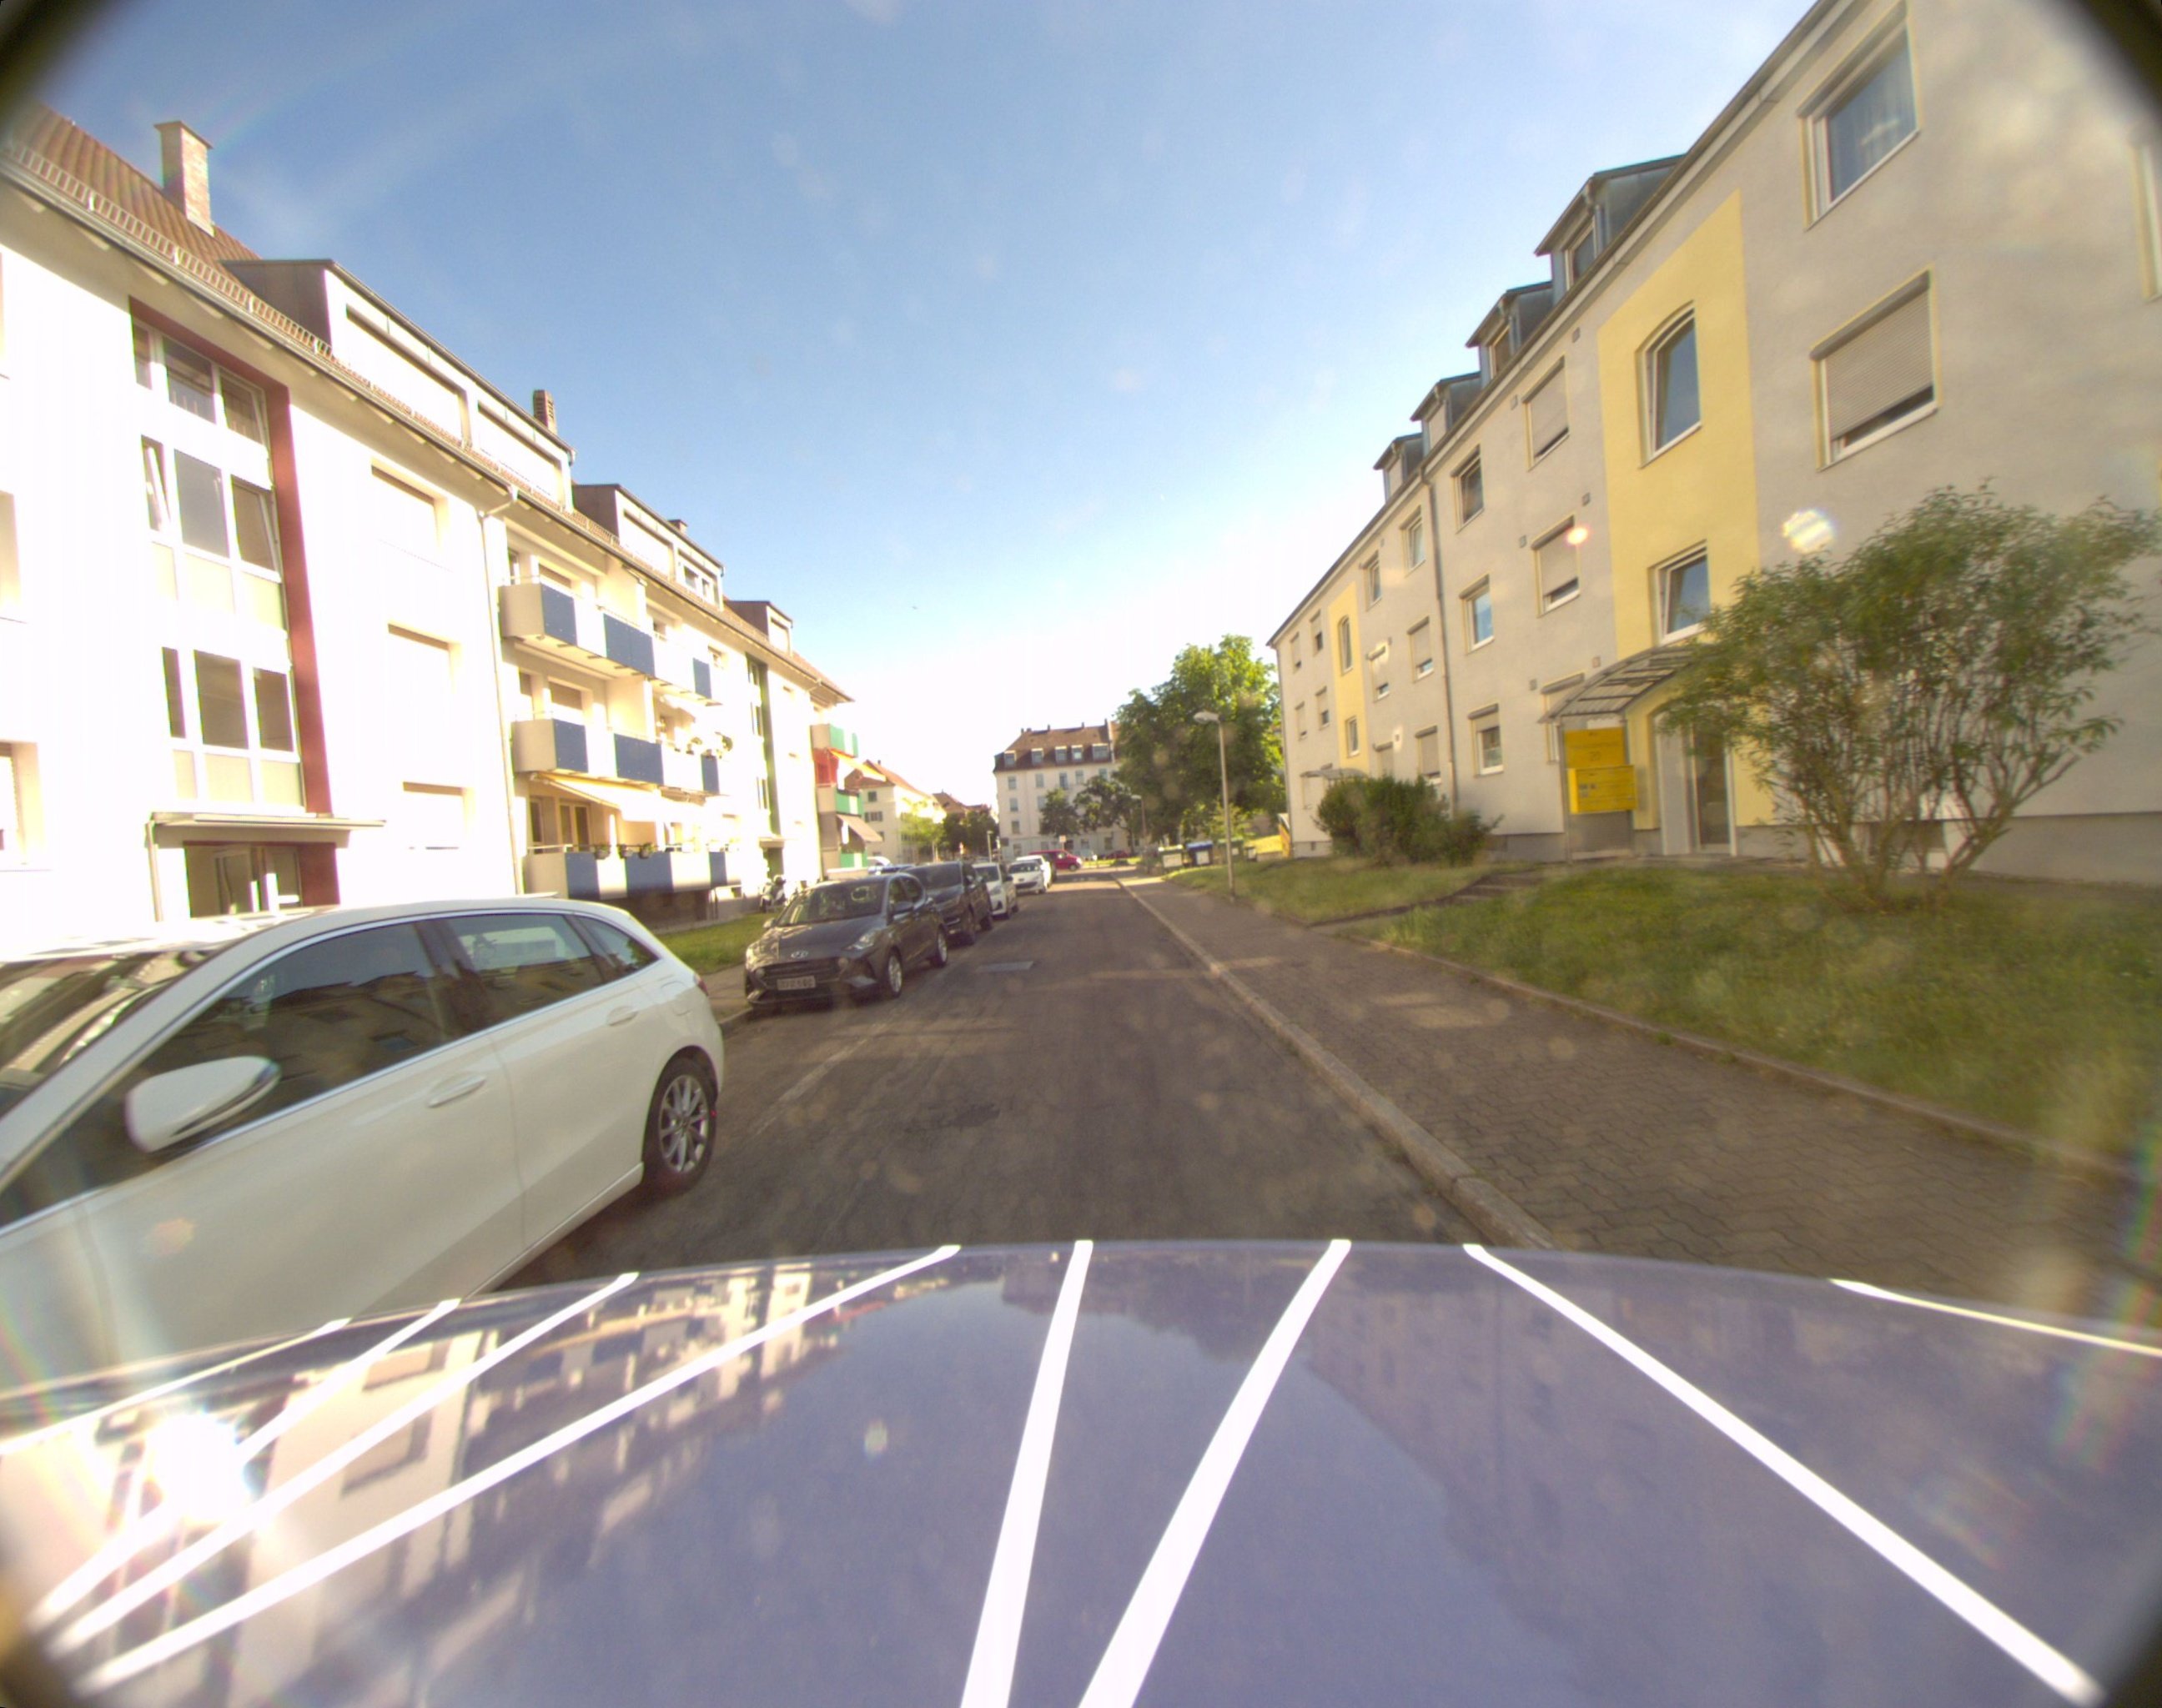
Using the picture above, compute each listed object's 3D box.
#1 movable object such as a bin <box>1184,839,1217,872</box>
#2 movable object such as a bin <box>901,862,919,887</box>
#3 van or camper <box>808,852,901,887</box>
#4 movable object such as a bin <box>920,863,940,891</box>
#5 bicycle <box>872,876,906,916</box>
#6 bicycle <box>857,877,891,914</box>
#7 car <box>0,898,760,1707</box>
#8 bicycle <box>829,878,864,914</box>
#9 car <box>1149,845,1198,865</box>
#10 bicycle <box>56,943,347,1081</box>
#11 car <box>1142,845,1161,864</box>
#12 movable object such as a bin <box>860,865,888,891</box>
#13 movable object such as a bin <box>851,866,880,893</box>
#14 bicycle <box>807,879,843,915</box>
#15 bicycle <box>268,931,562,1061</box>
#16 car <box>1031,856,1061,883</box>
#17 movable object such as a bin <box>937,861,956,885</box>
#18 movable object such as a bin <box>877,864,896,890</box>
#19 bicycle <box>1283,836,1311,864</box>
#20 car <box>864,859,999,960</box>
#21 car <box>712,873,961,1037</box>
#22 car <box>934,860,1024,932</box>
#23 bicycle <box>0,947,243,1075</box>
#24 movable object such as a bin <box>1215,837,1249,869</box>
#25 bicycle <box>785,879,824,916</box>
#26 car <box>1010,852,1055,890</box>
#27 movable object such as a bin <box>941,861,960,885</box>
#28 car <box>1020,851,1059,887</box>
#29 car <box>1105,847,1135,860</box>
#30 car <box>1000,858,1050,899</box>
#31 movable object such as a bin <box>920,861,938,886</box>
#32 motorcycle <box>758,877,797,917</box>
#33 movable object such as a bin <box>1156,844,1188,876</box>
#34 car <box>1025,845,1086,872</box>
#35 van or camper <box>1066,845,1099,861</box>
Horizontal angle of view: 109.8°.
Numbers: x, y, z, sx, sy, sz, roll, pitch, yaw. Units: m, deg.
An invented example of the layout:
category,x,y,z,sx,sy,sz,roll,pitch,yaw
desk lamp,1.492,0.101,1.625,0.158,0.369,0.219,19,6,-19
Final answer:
category,x,y,z,sx,sy,sz,roll,pitch,yaw
movable object such as a bin,6.145,0.074,39.061,1.358,1.451,1.082,-8,1,1
movable object such as a bin,-10.481,1.238,46.599,0.866,1.439,0.922,-3,1,-3
van or camper,-18.908,1.304,63.683,6.980,2.486,2.177,-3,1,2
movable object such as a bin,-8.459,1.282,42.648,0.866,1.439,0.922,-3,1,-3
bicycle,-6.338,1.365,25.146,0.546,1.163,1.873,-2,1,2
bicycle,-7.040,1.381,25.901,0.579,1.126,1.873,-3,0,0
car,-2.795,1.090,2.183,1.776,1.496,4.480,-5,0,-1
bicycle,-7.994,1.408,25.946,0.545,1.114,1.873,-3,0,0
car,8.376,0.070,68.937,4.140,1.488,1.729,-3,1,1
bicycle,-9.645,1.668,8.518,0.521,1.043,2.288,-2,0,1
car,6.641,-0.003,72.115,1.678,1.645,3.305,-3,0,5
movable object such as a bin,-12.414,1.424,45.590,1.239,1.439,1.278,-3,1,-2
movable object such as a bin,-12.505,1.472,44.182,1.239,1.439,1.278,-3,1,-2
bicycle,-8.711,1.447,25.927,0.539,1.076,1.873,-1,0,0
bicycle,-6.992,1.477,8.045,2.429,1.123,0.879,-3,1,7
car,-2.307,1.002,50.563,1.728,1.528,3.951,-7,0,-1
movable object such as a bin,-8.002,1.120,45.295,0.921,1.318,0.866,-4,1,-1
movable object such as a bin,-11.962,1.415,46.741,0.866,1.511,0.922,-3,1,-1
bicycle,10.073,-0.198,35.501,0.641,1.243,2.009,-5,1,1
car,-2.763,0.952,15.051,1.728,1.569,4.352,-3,0,0
car,-2.921,1.130,10.105,1.650,1.441,4.061,-6,0,3
car,-2.621,1.031,20.354,1.717,1.501,3.853,-7,0,0
bicycle,-10.961,1.717,8.665,0.521,1.031,1.975,-3,0,1
movable object such as a bin,7.738,-0.049,39.066,1.363,1.445,1.073,-8,1,1
bicycle,-9.439,1.460,25.994,0.598,1.109,1.873,-4,0,0
car,-2.323,0.799,37.731,1.805,1.583,4.581,-6,0,0
movable object such as a bin,-7.981,1.153,46.522,0.921,1.390,0.866,-4,1,-1
car,-2.396,0.824,44.939,1.855,1.790,4.253,-8,0,0
car,5.407,-0.065,104.313,3.996,1.477,1.722,-3,1,2
car,-2.310,0.988,32.421,1.695,1.410,4.097,-7,0,0
movable object such as a bin,-9.368,1.211,46.738,0.866,1.439,0.922,-3,1,-3
motorcycle,-10.438,1.462,26.184,0.442,1.231,1.976,-3,0,1
movable object such as a bin,4.669,0.307,39.012,1.318,1.451,1.198,-8,1,1
car,-2.203,0.385,65.864,4.992,2.002,2.000,-4,0,3
van or camper,0.230,-0.156,104.697,4.355,1.852,2.000,-3,1,-1
